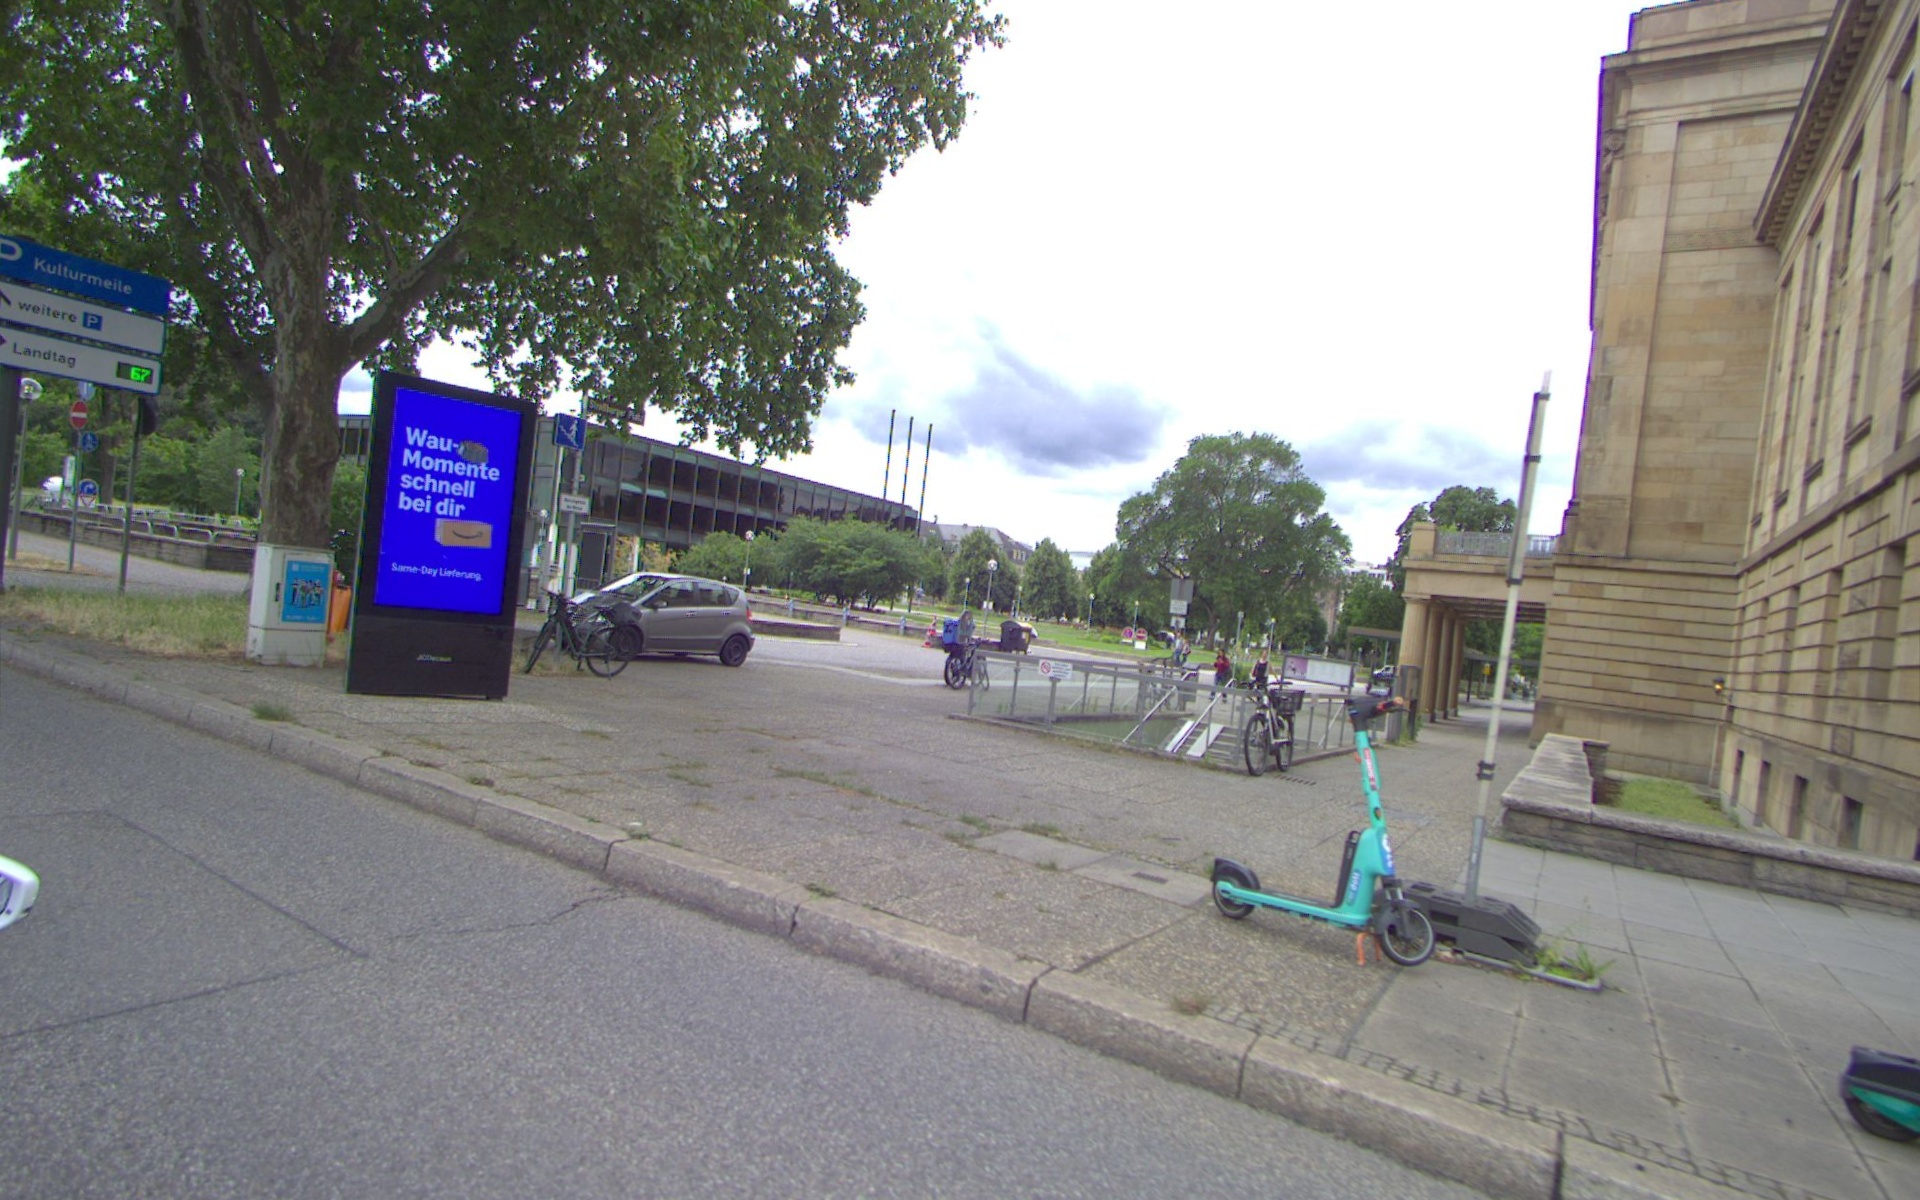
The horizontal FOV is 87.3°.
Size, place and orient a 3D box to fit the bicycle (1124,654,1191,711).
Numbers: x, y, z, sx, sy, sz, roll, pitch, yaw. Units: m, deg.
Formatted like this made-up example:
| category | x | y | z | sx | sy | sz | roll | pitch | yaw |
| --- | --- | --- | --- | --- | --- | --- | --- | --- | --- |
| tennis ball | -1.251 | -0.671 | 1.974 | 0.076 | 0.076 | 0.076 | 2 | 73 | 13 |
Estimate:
| category | x | y | z | sx | sy | sz | roll | pitch | yaw |
| --- | --- | --- | --- | --- | --- | --- | --- | --- | --- |
| bicycle | 4.346 | 1.835 | 21.995 | 0.420 | 1.113 | 2.166 | 7 | -2 | 37 |

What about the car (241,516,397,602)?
| category | x | y | z | sx | sy | sz | roll | pitch | yaw |
| --- | --- | --- | --- | --- | --- | --- | --- | --- | --- |
| car | -16.352 | -1.054 | 25.615 | 3.960 | 1.571 | 1.762 | 9 | 1 | 33 |

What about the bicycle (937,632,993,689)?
| category | x | y | z | sx | sy | sz | roll | pitch | yaw |
| --- | --- | --- | --- | --- | --- | --- | --- | --- | --- |
| bicycle | 0.126 | 1.310 | 21.732 | 0.435 | 1.145 | 1.754 | 7 | 0 | 24 |

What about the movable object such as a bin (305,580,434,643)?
| category | x | y | z | sx | sy | sz | roll | pitch | yaw |
| --- | --- | --- | --- | --- | --- | --- | --- | --- | --- |
| movable object such as a bin | -8.018 | 0.162 | 13.693 | 0.719 | 0.659 | 1.299 | 5 | -3 | 40 |

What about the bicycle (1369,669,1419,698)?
| category | x | y | z | sx | sy | sz | roll | pitch | yaw |
| --- | --- | --- | --- | --- | --- | --- | --- | --- | --- |
| bicycle | 25.718 | 4.956 | 59.608 | 2.536 | 1.360 | 0.726 | 6 | -2 | 32 |

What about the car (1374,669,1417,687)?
| category | x | y | z | sx | sy | sz | roll | pitch | yaw |
| --- | --- | --- | --- | --- | --- | --- | --- | --- | --- |
| car | 57.577 | 10.284 | 132.983 | 4.836 | 1.758 | 2.074 | 6 | -3 | 35 |

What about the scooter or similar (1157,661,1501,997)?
| category | x | y | z | sx | sy | sz | roll | pitch | yaw |
| --- | --- | --- | --- | --- | --- | --- | --- | --- | --- |
| scooter or similar | 1.765 | 1.037 | 4.966 | 1.415 | 1.295 | 0.430 | 6 | -1 | 43 |

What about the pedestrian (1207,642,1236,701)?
| category | x | y | z | sx | sy | sz | roll | pitch | yaw |
| --- | --- | --- | --- | --- | --- | --- | --- | --- | --- |
| pedestrian | 7.918 | 2.160 | 30.446 | 0.560 | 1.716 | 0.430 | 7 | 1 | 30 |

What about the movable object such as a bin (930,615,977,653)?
| category | x | y | z | sx | sy | sz | roll | pitch | yaw |
| --- | --- | --- | --- | --- | --- | --- | --- | --- | --- |
| movable object such as a bin | -0.246 | 1.354 | 39.827 | 1.134 | 1.320 | 1.409 | 7 | 0 | 34 |

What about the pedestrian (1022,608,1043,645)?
| category | x | y | z | sx | sy | sz | roll | pitch | yaw |
| --- | --- | --- | --- | --- | --- | --- | --- | --- | --- |
| pedestrian | 4.248 | 1.538 | 58.938 | 0.799 | 2.037 | 0.625 | 8 | -2 | -38 |

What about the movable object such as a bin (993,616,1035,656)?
| category | x | y | z | sx | sy | sz | roll | pitch | yaw |
| --- | --- | --- | --- | --- | --- | --- | --- | --- | --- |
| movable object such as a bin | 2.348 | 1.569 | 43.667 | 1.134 | 1.515 | 1.409 | 7 | 0 | 34 |

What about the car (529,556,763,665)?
| category | x | y | z | sx | sy | sz | roll | pitch | yaw |
| --- | --- | --- | --- | --- | --- | --- | --- | --- | --- |
| car | -5.643 | 0.259 | 18.521 | 1.651 | 1.587 | 3.841 | 7 | -1 | 32 |

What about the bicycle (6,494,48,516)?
| category | x | y | z | sx | sy | sz | roll | pitch | yaw |
| --- | --- | --- | --- | --- | --- | --- | --- | --- | --- |
| bicycle | -52.270 | -5.325 | 56.377 | 2.741 | 0.986 | 0.956 | 6 | -2 | 32 |

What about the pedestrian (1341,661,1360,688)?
| category | x | y | z | sx | sy | sz | roll | pitch | yaw |
| --- | --- | --- | --- | --- | --- | --- | --- | --- | --- |
| pedestrian | 27.905 | 5.327 | 71.941 | 0.929 | 1.826 | 0.546 | 7 | -1 | 5 |

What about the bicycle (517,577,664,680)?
| category | x | y | z | sx | sy | sz | roll | pitch | yaw |
| --- | --- | --- | --- | --- | --- | --- | --- | --- | --- |
| bicycle | -4.926 | 0.419 | 13.531 | 0.484 | 1.235 | 1.786 | 7 | 0 | 34 |

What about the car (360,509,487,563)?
| category | x | y | z | sx | sy | sz | roll | pitch | yaw |
| --- | --- | --- | --- | --- | --- | --- | --- | --- | --- |
| car | -31.655 | -3.742 | 59.588 | 2.363 | 2.288 | 6.112 | 7 | -1 | 34 |

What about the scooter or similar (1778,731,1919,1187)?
| category | x | y | z | sx | sy | sz | roll | pitch | yaw |
| --- | --- | --- | --- | --- | --- | --- | --- | --- | --- |
| scooter or similar | 3.585 | 1.195 | 3.137 | 1.390 | 1.347 | 0.727 | 6 | -1 | 31 |

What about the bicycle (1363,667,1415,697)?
| category | x | y | z | sx | sy | sz | roll | pitch | yaw |
| --- | --- | --- | --- | --- | --- | --- | --- | --- | --- |
| bicycle | 24.416 | 4.672 | 57.293 | 2.536 | 1.360 | 0.726 | 6 | -2 | 32 |

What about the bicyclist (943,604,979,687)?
| category | x | y | z | sx | sy | sz | roll | pitch | yaw |
| --- | --- | --- | --- | --- | --- | --- | --- | --- | --- |
| bicyclist | 0.021 | 1.002 | 22.117 | 0.466 | 1.770 | 0.437 | 7 | 1 | 24 |

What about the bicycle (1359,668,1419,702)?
| category | x | y | z | sx | sy | sz | roll | pitch | yaw |
| --- | --- | --- | --- | --- | --- | --- | --- | --- | --- |
| bicycle | 23.511 | 4.657 | 55.117 | 2.849 | 1.442 | 0.961 | 6 | -2 | 28 |

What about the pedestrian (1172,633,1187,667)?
| category | x | y | z | sx | sy | sz | roll | pitch | yaw |
| --- | --- | --- | --- | --- | --- | --- | --- | --- | --- |
| pedestrian | 12.056 | 2.739 | 55.365 | 0.537 | 1.826 | 0.500 | 7 | -1 | 5 |

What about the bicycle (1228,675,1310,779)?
| category | x | y | z | sx | sy | sz | roll | pitch | yaw |
| --- | --- | --- | --- | --- | --- | --- | --- | --- | --- |
| bicycle | 3.847 | 1.533 | 12.410 | 0.382 | 1.139 | 2.014 | 7 | -1 | 31 |

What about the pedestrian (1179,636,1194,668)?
| category | x | y | z | sx | sy | sz | roll | pitch | yaw |
| --- | --- | --- | --- | --- | --- | --- | --- | --- | --- |
| pedestrian | 12.301 | 2.841 | 54.696 | 0.537 | 1.683 | 0.500 | 7 | -1 | 5 |

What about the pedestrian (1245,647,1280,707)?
| category | x | y | z | sx | sy | sz | roll | pitch | yaw |
| --- | --- | --- | --- | --- | --- | --- | --- | --- | --- |
| pedestrian | 9.214 | 2.340 | 30.595 | 0.693 | 1.743 | 0.680 | 7 | 1 | 30 |
